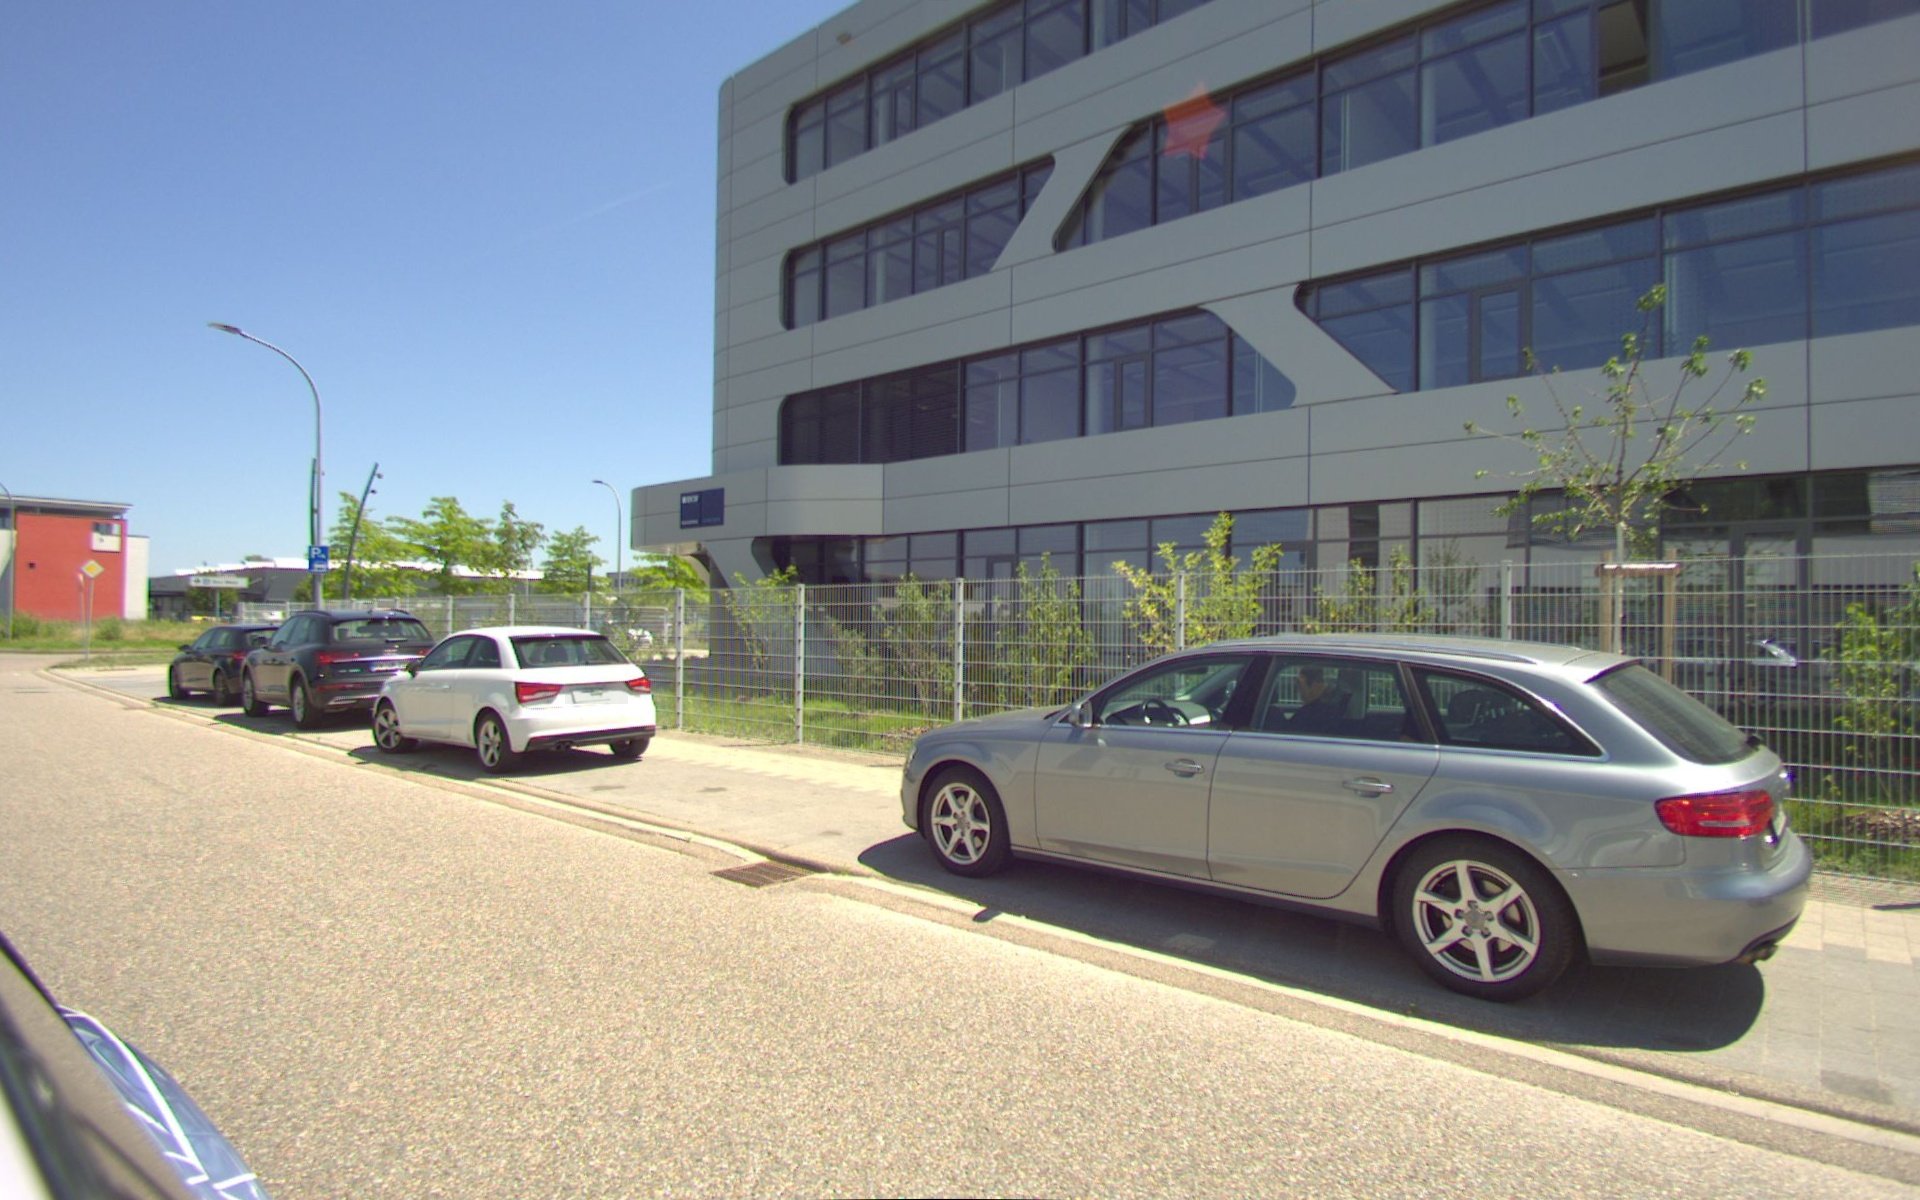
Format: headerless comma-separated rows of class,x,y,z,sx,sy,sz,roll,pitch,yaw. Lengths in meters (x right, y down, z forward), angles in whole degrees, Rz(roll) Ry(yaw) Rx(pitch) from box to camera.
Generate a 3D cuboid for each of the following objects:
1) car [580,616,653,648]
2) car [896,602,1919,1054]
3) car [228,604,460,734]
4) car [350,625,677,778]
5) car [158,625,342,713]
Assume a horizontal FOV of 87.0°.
car,-16.978,1.589,49.910,4.114,1.487,1.589,-3,-3,41
car,1.878,0.771,5.249,4.637,1.396,1.666,-2,-2,42
car,-9.419,0.954,15.293,4.850,1.664,1.750,-2,-2,43
car,-5.017,0.985,11.160,3.932,1.396,1.682,-2,-2,39
car,-13.389,1.218,19.016,4.181,1.477,1.752,-2,-2,39
